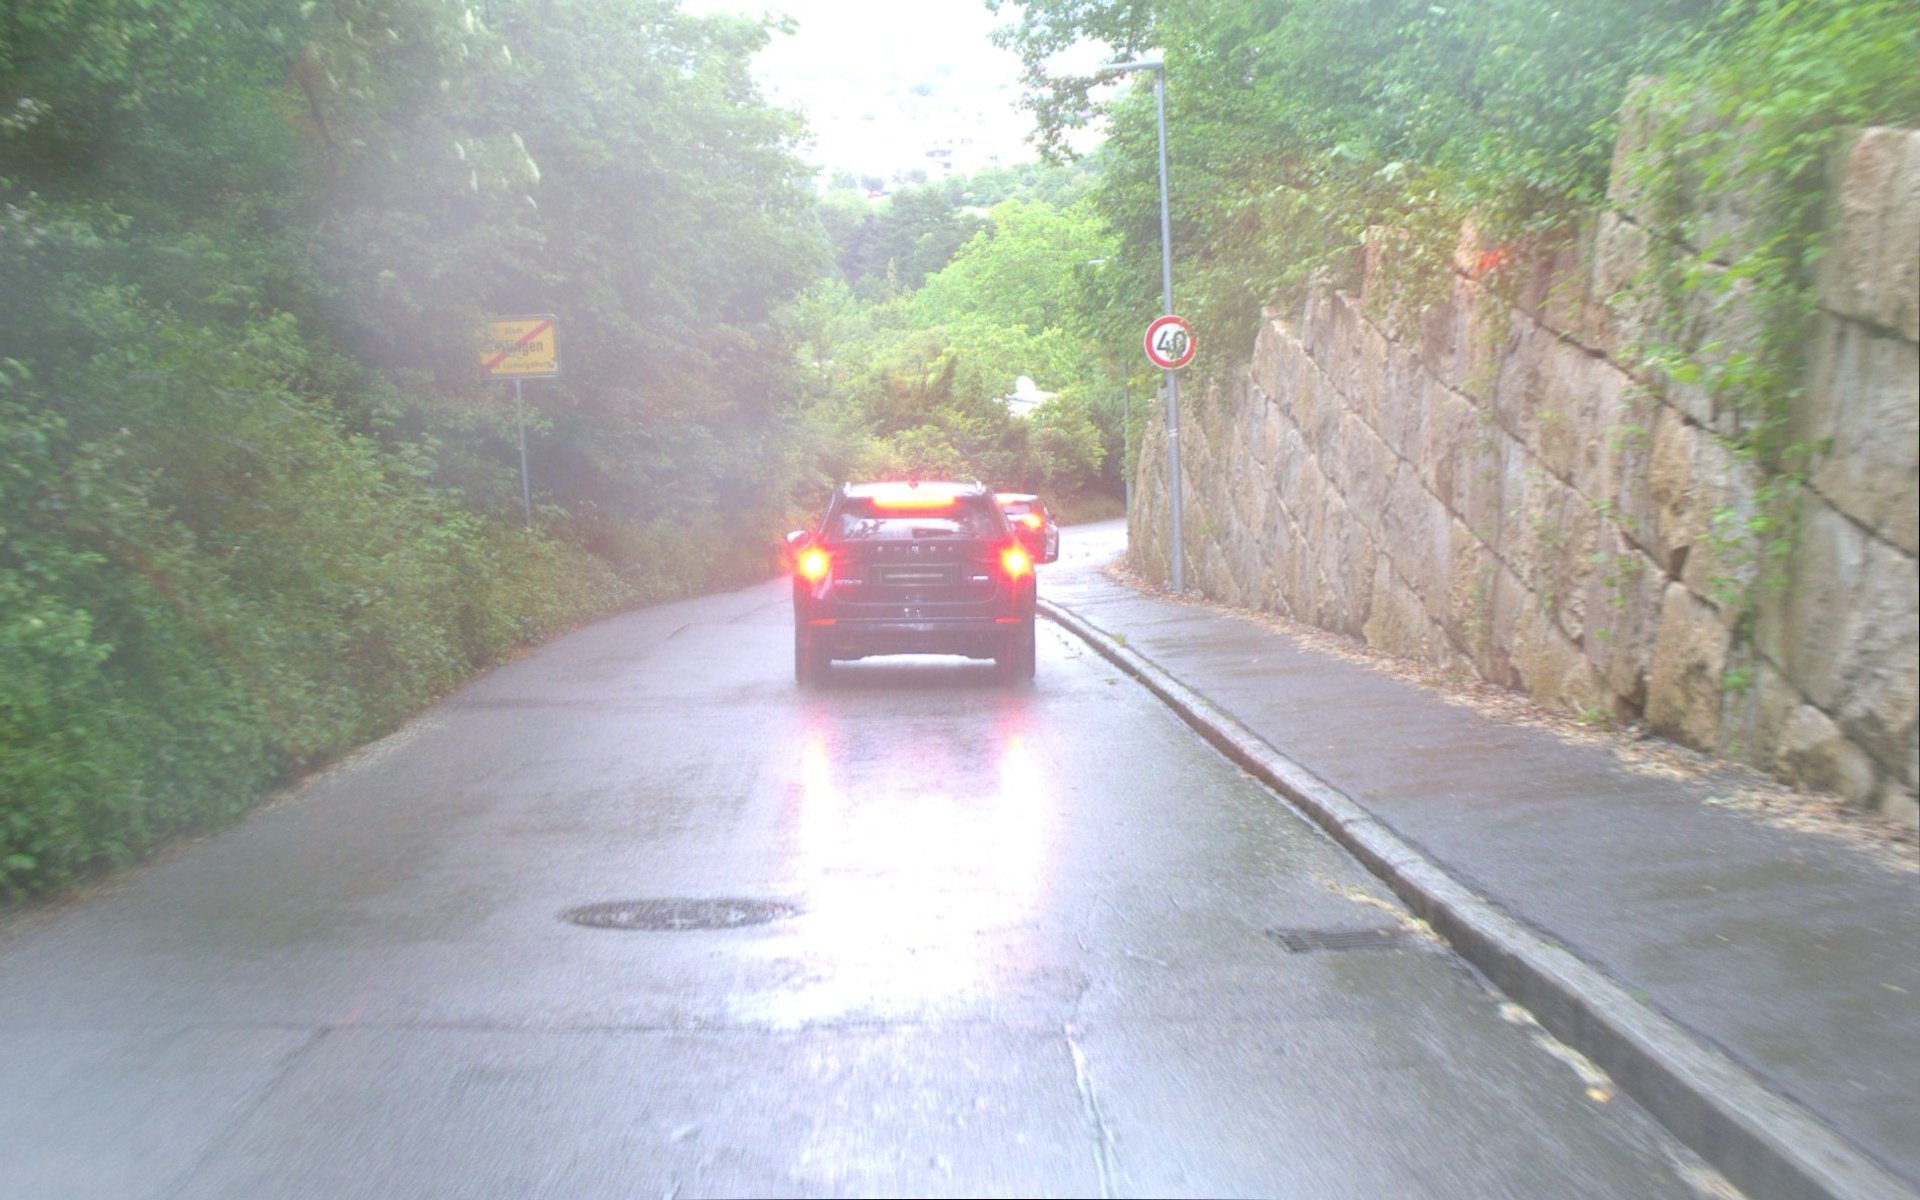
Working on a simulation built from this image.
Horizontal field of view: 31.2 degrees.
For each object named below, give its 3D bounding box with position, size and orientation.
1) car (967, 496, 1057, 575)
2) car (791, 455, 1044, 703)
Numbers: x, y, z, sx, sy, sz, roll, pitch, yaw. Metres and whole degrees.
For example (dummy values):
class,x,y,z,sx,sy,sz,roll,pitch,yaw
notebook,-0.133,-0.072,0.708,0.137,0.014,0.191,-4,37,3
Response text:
class,x,y,z,sx,sy,sz,roll,pitch,yaw
car,1.154,-1.488,77.869,1.863,1.737,4.001,0,2,-2
car,-0.381,-0.226,25.739,1.699,1.445,4.002,-2,6,-2
